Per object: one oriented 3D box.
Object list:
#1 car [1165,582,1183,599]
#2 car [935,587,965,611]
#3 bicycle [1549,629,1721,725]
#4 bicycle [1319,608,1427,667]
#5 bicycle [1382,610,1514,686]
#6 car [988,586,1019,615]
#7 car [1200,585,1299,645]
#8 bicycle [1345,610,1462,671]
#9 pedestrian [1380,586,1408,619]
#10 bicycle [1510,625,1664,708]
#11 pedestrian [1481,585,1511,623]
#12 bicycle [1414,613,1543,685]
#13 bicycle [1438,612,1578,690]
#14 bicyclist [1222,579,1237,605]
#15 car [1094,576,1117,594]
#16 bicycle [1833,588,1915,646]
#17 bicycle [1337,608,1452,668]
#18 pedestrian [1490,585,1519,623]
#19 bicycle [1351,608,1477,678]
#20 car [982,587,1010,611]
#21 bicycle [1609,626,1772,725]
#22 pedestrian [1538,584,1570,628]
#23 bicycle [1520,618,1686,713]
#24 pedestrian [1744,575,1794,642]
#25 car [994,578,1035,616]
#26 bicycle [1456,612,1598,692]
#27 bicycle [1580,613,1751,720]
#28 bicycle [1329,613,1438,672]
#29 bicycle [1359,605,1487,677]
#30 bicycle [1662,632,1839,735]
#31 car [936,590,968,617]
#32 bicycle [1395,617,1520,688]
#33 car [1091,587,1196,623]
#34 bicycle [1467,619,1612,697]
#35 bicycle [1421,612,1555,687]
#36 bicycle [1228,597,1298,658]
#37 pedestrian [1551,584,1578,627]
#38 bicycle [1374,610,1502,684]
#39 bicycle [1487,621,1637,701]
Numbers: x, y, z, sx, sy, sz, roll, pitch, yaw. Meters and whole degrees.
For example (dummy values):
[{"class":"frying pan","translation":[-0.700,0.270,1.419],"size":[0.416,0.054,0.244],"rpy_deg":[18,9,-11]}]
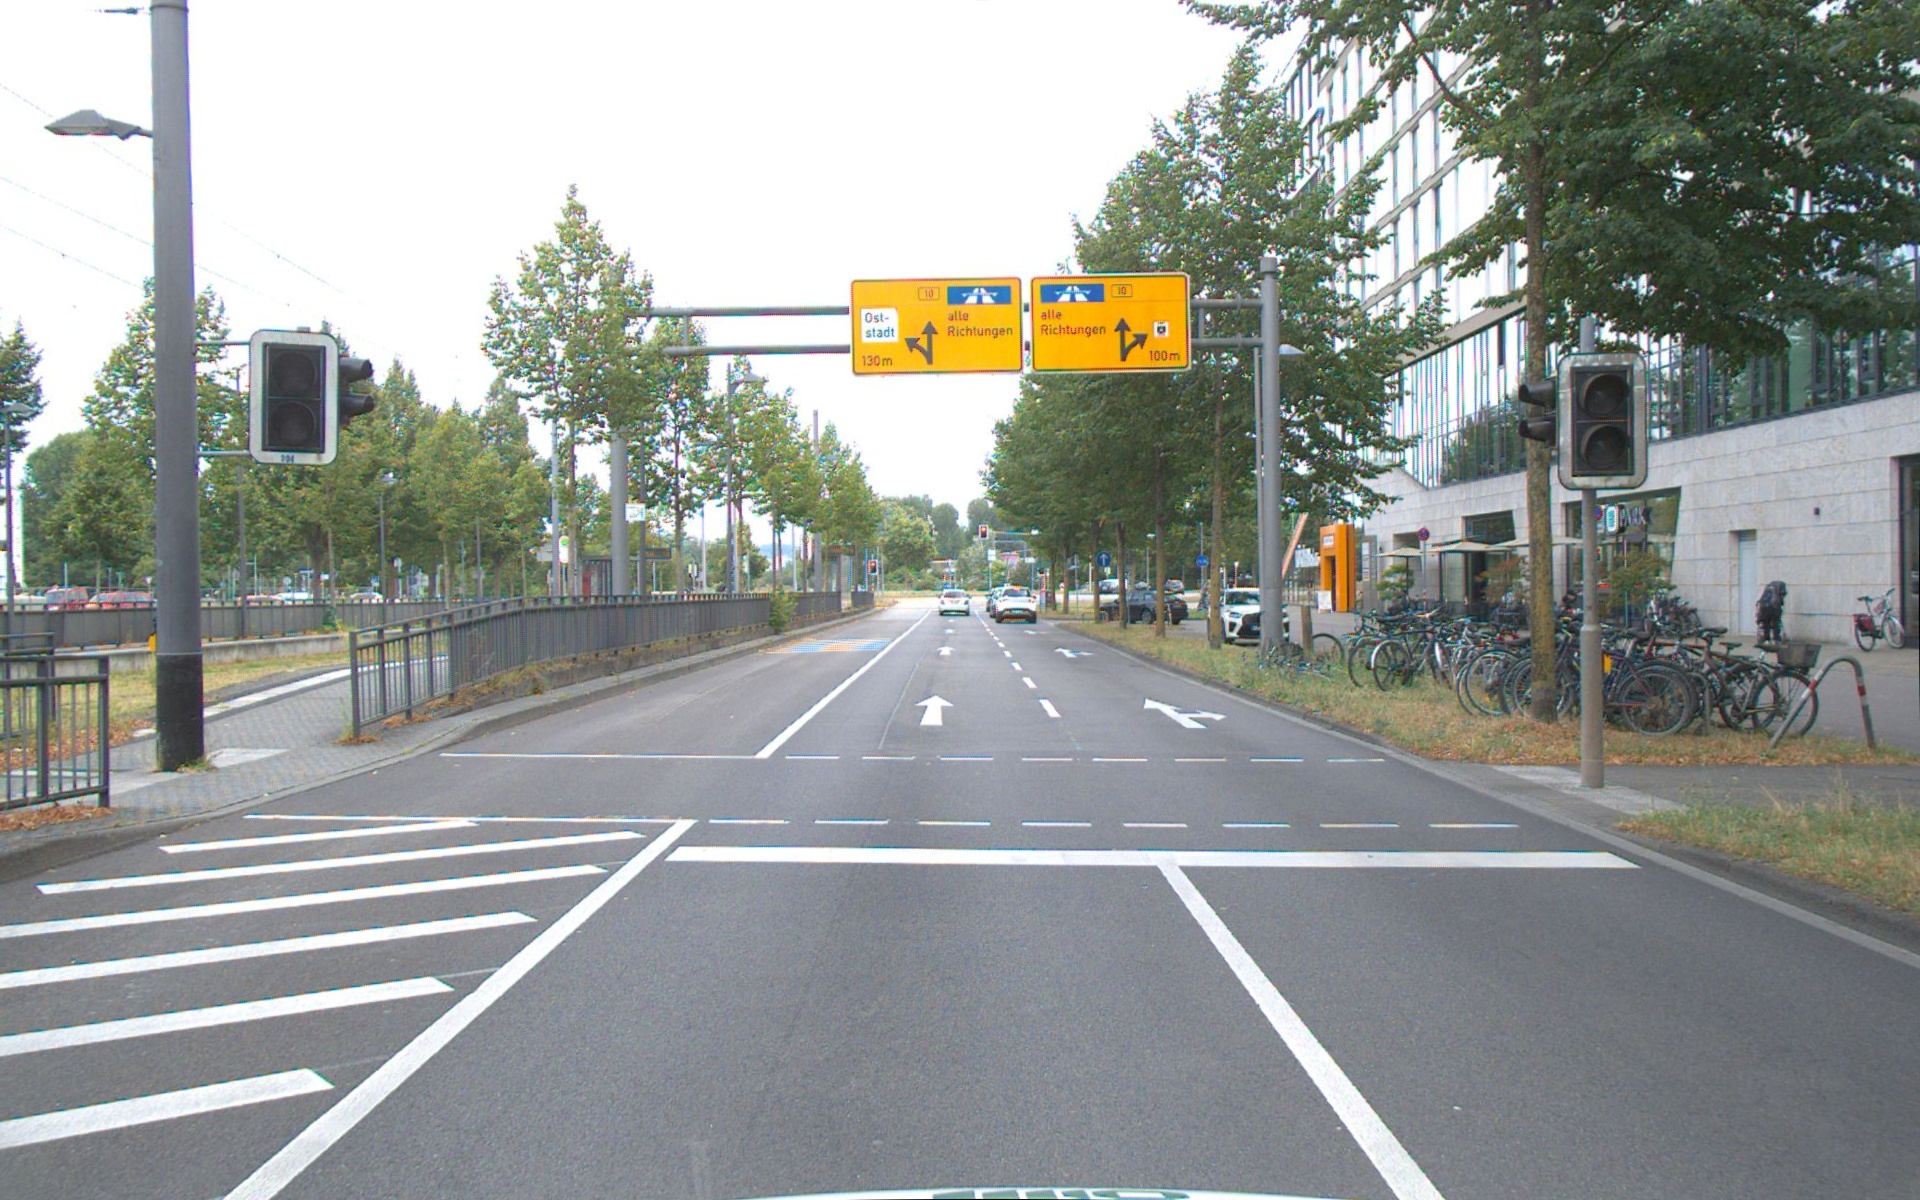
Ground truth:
[{"class":"car","translation":[22.546,-0.994,174.204],"size":[1.745,1.664,4.406],"rpy_deg":[-1,0,10]},{"class":"car","translation":[-0.649,-0.060,103.676],"size":[1.738,1.474,3.909],"rpy_deg":[-1,0,-2]},{"class":"bicycle","translation":[7.700,0.872,18.902],"size":[1.739,1.030,0.609],"rpy_deg":[1,0,-9]},{"class":"bicycle","translation":[7.669,0.697,30.751],"size":[1.823,1.012,0.574],"rpy_deg":[2,0,-4]},{"class":"bicycle","translation":[7.622,0.747,25.832],"size":[1.894,1.083,0.543],"rpy_deg":[2,0,-9]},{"class":"car","translation":[2.552,-0.005,98.624],"size":[1.750,1.653,3.910],"rpy_deg":[-1,0,0]},{"class":"car","translation":[8.070,0.376,46.533],"size":[1.899,1.579,4.593],"rpy_deg":[-1,1,-1]},{"class":"bicycle","translation":[7.663,0.695,28.594],"size":[1.823,0.968,0.612],"rpy_deg":[2,0,-4]},{"class":"pedestrian","translation":[16.485,0.092,62.858],"size":[0.879,1.250,0.951],"rpy_deg":[-1,0,5]},{"class":"bicycle","translation":[7.695,0.814,20.321],"size":[1.683,0.921,0.587],"rpy_deg":[2,0,-9]},{"class":"pedestrian","translation":[17.608,0.132,54.331],"size":[0.704,1.213,0.759],"rpy_deg":[-1,0,-1]},{"class":"bicycle","translation":[7.696,0.723,24.566],"size":[1.711,0.991,0.608],"rpy_deg":[2,0,-9]},{"class":"bicycle","translation":[7.572,0.706,22.878],"size":[1.711,0.991,0.608],"rpy_deg":[2,0,-9]},{"class":"bicyclist","translation":[16.749,-0.482,102.761],"size":[0.709,1.610,0.990],"rpy_deg":[-1,0,0]},{"class":"car","translation":[15.794,-1.610,179.746],"size":[1.954,1.822,3.997],"rpy_deg":[1,0,-4]},{"class":"bicycle","translation":[17.509,0.321,31.674],"size":[1.579,1.044,0.605],"rpy_deg":[-2,0,-28]},{"class":"bicycle","translation":[7.694,0.664,29.336],"size":[1.823,0.968,0.652],"rpy_deg":[2,0,-4]},{"class":"pedestrian","translation":[17.600,0.132,53.480],"size":[0.704,1.213,0.759],"rpy_deg":[-1,0,1]},{"class":"bicycle","translation":[7.653,0.715,27.902],"size":[1.891,1.083,0.705],"rpy_deg":[2,0,-4]},{"class":"car","translation":[2.322,-0.087,106.284],"size":[1.592,1.474,3.909],"rpy_deg":[0,0,-2]},{"class":"bicycle","translation":[7.647,0.788,17.334],"size":[1.498,0.970,0.484],"rpy_deg":[2,0,-4]},{"class":"pedestrian","translation":[16.727,0.162,46.601],"size":[0.756,1.213,1.107],"rpy_deg":[-1,0,15]},{"class":"bicycle","translation":[7.609,0.773,19.593],"size":[1.739,1.030,0.609],"rpy_deg":[2,0,-9]},{"class":"pedestrian","translation":[17.399,0.180,35.579],"size":[0.740,1.431,0.721],"rpy_deg":[-1,0,7]},{"class":"car","translation":[2.457,-0.151,75.927],"size":[1.742,1.685,4.023],"rpy_deg":[-1,0,0]},{"class":"bicycle","translation":[7.610,0.693,22.229],"size":[1.683,0.991,0.608],"rpy_deg":[2,0,-9]},{"class":"bicycle","translation":[7.701,0.719,18.071],"size":[1.635,1.109,0.525],"rpy_deg":[2,0,-4]},{"class":"bicycle","translation":[7.695,0.770,30.085],"size":[1.823,0.968,0.501],"rpy_deg":[2,0,-4]},{"class":"bicycle","translation":[7.585,0.667,27.141],"size":[1.891,1.083,0.641],"rpy_deg":[2,0,-4]},{"class":"bicycle","translation":[7.905,0.830,16.566],"size":[1.498,0.970,0.552],"rpy_deg":[2,0,-4]},{"class":"car","translation":[-0.487,0.179,95.155],"size":[1.738,1.474,3.909],"rpy_deg":[-1,0,-2]},{"class":"bicycle","translation":[7.568,0.791,25.185],"size":[1.711,0.991,0.608],"rpy_deg":[2,0,-9]},{"class":"car","translation":[8.015,0.197,72.522],"size":[1.925,1.501,4.811],"rpy_deg":[-1,0,-35]},{"class":"bicycle","translation":[7.547,0.755,21.568],"size":[1.683,0.921,0.587],"rpy_deg":[2,0,-9]},{"class":"bicycle","translation":[7.569,0.703,23.718],"size":[1.711,0.991,0.608],"rpy_deg":[2,0,-9]},{"class":"bicycle","translation":[6.113,0.541,33.483],"size":[0.696,1.135,2.199],"rpy_deg":[2,0,-8]},{"class":"pedestrian","translation":[17.462,0.156,47.766],"size":[0.704,1.213,0.759],"rpy_deg":[-1,0,22]},{"class":"bicycle","translation":[7.630,0.746,26.411],"size":[1.894,1.083,0.543],"rpy_deg":[2,0,-9]},{"class":"bicycle","translation":[7.613,0.774,20.934],"size":[1.683,0.921,0.587],"rpy_deg":[2,0,-9]}]
